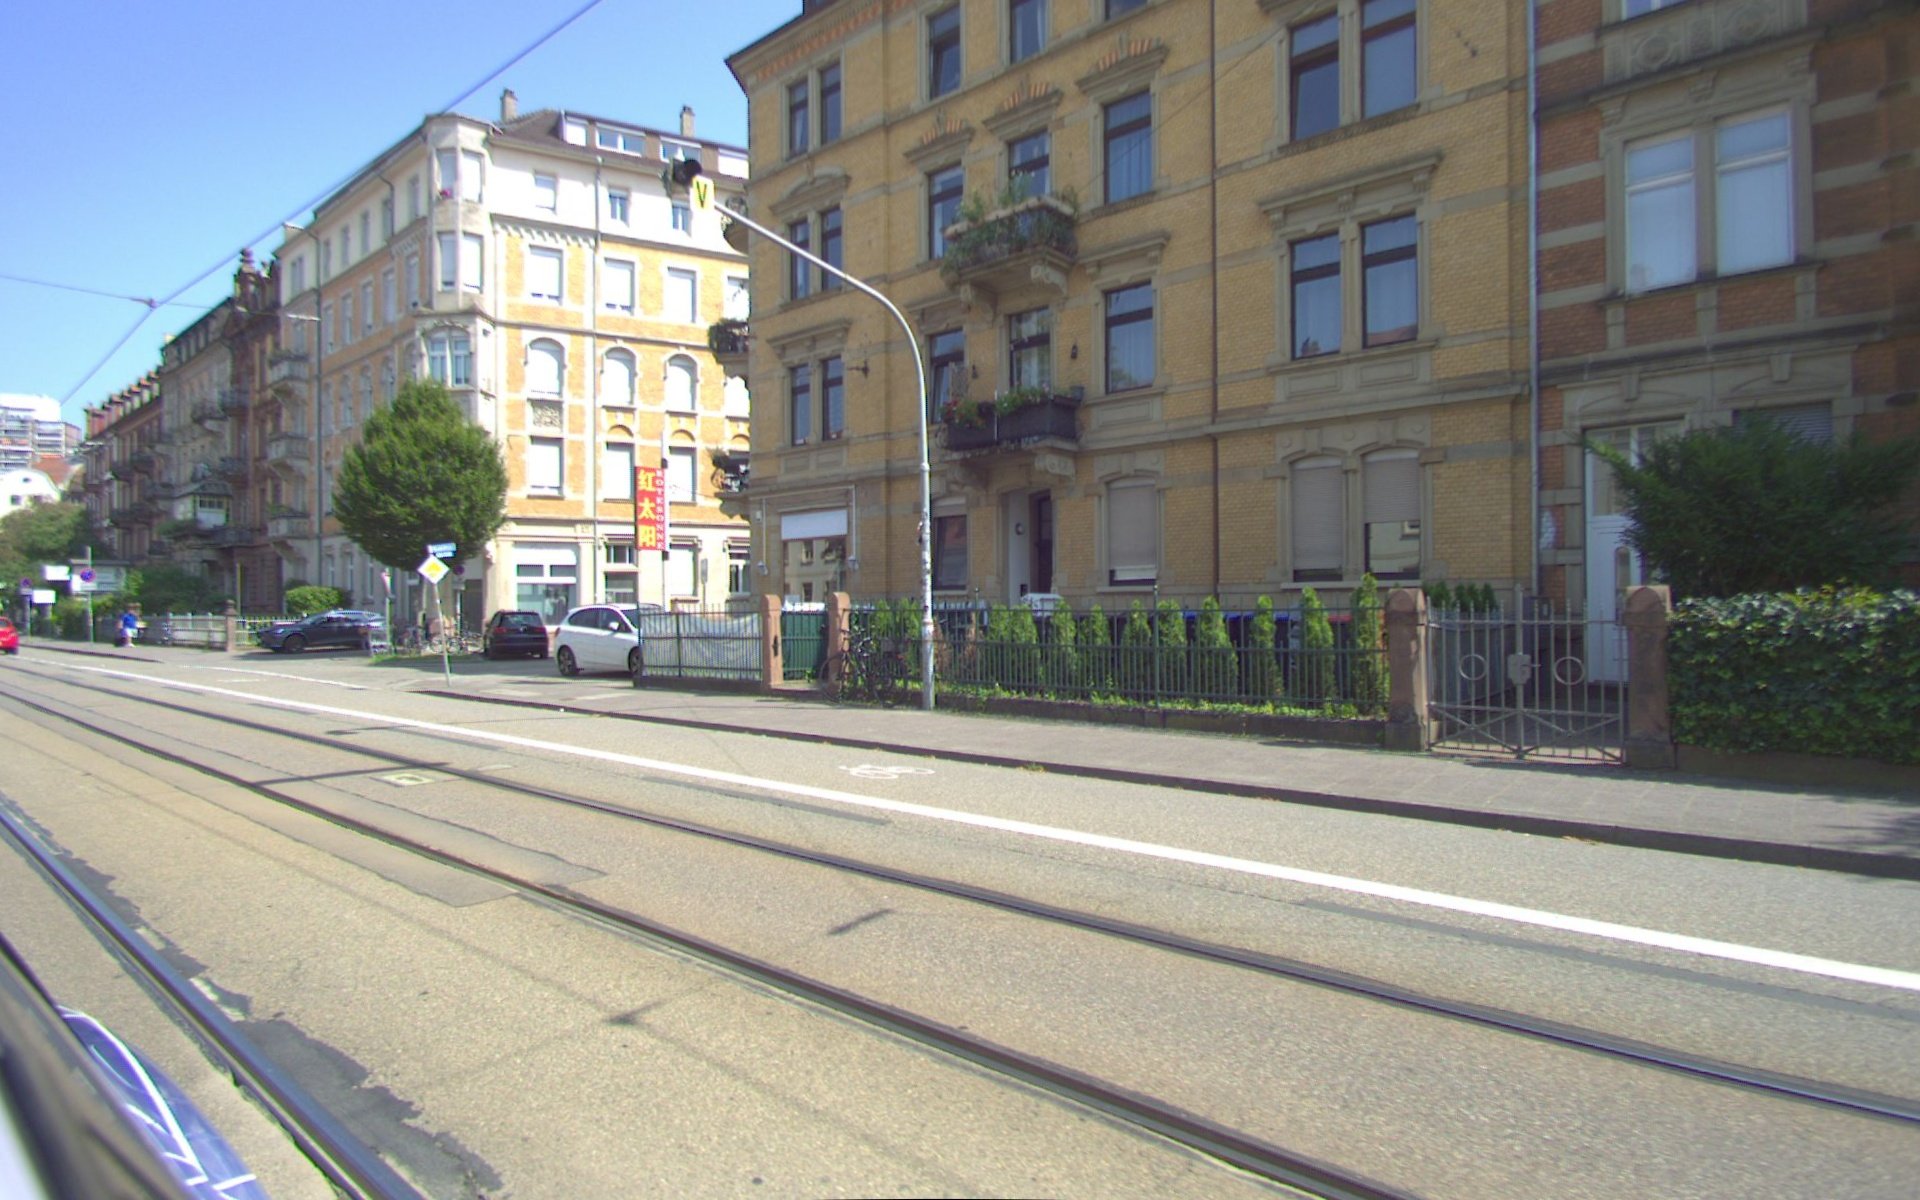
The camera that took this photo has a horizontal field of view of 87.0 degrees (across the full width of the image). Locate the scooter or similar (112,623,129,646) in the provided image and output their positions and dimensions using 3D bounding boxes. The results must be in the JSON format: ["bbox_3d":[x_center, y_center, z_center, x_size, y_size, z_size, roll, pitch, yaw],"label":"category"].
[{"bbox_3d":[-36.440,1.496,43.919,0.583,0.990,0.397,-1,0,33],"label":"scooter or similar"}]

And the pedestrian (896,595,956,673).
[{"bbox_3d":[-0.678,0.670,20.377,0.883,1.522,0.860,-1,-1,32],"label":"pedestrian"}]

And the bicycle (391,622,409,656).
[{"bbox_3d":[-18.616,1.291,33.657,0.384,1.107,1.456,-1,-1,-24],"label":"bicycle"}]

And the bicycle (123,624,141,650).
[{"bbox_3d":[-37.730,1.672,46.103,1.581,1.156,0.386,-2,-1,42],"label":"bicycle"}]

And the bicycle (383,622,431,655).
[{"bbox_3d":[-19.386,1.350,35.507,1.428,1.107,0.391,-1,-1,-39],"label":"bicycle"}]

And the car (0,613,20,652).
[{"bbox_3d":[-38.556,1.283,39.886,3.997,1.502,1.714,-2,-2,40],"label":"car"}]

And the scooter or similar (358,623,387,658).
[{"bbox_3d":[-19.196,1.316,33.045,0.588,1.107,1.392,0,-1,-39],"label":"scooter or similar"}]

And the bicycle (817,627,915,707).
[{"bbox_3d":[-1.373,0.943,14.601,1.566,1.107,0.386,-2,-1,39],"label":"bicycle"}]

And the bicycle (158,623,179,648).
[{"bbox_3d":[-33.101,1.485,42.325,1.832,1.046,0.386,-2,-1,42],"label":"bicycle"}]

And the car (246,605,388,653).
[{"bbox_3d":[-23.537,1.021,37.126,1.878,1.606,4.058,-1,0,42],"label":"car"}]

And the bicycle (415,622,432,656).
[{"bbox_3d":[-17.943,1.287,33.872,0.384,1.107,1.456,-1,-1,-24],"label":"bicycle"}]

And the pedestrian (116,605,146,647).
[{"bbox_3d":[-35.935,1.119,43.877,0.869,1.769,0.874,-1,-1,41],"label":"pedestrian"}]

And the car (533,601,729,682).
[{"bbox_3d":[-7.261,0.872,22.179,4.352,1.606,1.975,-1,-1,37],"label":"car"}]

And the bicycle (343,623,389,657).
[{"bbox_3d":[-20.025,1.349,34.136,0.387,1.107,1.443,-2,-1,18],"label":"bicycle"}]

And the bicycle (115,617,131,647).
[{"bbox_3d":[-40.350,1.542,48.779,1.581,1.416,0.386,-2,-1,42],"label":"bicycle"}]

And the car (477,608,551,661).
[{"bbox_3d":[-15.485,1.161,35.018,1.965,1.701,4.373,0,-1,-28],"label":"car"}]
